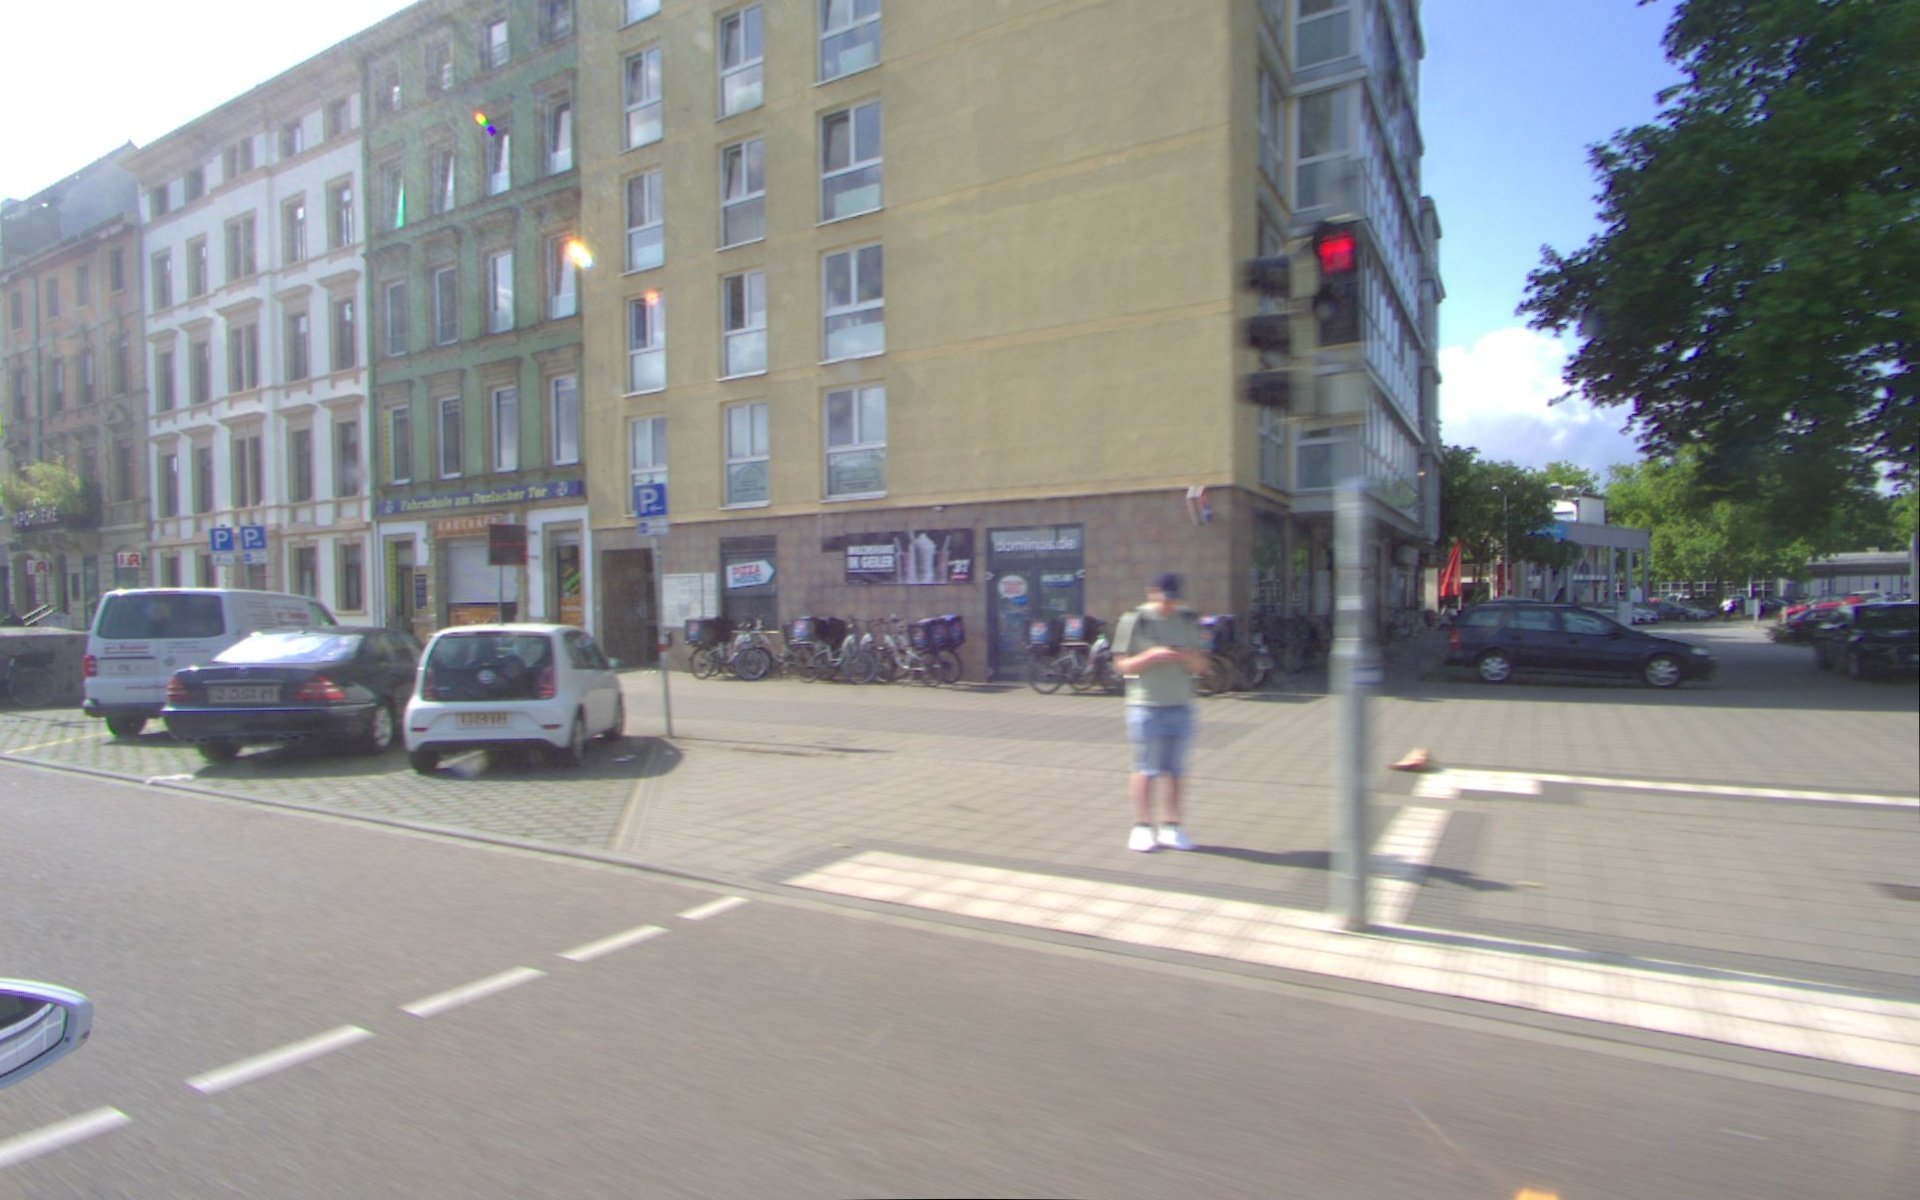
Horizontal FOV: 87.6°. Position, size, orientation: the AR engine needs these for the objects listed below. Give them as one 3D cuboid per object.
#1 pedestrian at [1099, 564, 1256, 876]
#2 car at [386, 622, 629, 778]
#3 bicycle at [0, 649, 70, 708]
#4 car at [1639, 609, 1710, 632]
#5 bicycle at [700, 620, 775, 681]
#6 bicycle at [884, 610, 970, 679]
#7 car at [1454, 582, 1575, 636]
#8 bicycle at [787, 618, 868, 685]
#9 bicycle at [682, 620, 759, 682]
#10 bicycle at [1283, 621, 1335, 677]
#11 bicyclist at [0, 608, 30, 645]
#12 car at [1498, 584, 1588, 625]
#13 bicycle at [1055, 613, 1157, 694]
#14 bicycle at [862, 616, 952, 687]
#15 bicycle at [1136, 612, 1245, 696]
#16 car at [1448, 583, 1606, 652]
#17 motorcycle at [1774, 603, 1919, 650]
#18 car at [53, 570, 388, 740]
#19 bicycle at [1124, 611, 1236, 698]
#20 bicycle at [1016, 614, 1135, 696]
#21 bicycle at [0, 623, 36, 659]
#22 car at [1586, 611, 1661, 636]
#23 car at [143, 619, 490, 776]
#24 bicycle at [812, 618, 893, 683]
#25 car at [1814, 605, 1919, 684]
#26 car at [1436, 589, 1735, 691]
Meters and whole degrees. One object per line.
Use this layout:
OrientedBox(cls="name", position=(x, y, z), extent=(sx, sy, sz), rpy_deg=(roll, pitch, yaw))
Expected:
OrientedBox(cls="pedestrian", position=(1.333, 0.730, 6.350), extent=(0.771, 1.781, 0.996), rpy_deg=(-3, -2, 6))
OrientedBox(cls="car", position=(-4.885, 1.014, 11.311), extent=(1.687, 1.458, 3.511), rpy_deg=(0, -2, -10))
OrientedBox(cls="bicycle", position=(-16.735, 1.359, 17.449), extent=(0.504, 1.016, 1.773), rpy_deg=(-1, -3, 25))
OrientedBox(cls="car", position=(54.001, 1.543, 75.748), extent=(1.625, 1.396, 3.983), rpy_deg=(-1, -5, -31))
OrientedBox(cls="bicycle", position=(-4.631, 1.038, 20.788), extent=(1.621, 1.217, 0.485), rpy_deg=(-1, 0, 31))
OrientedBox(cls="bicycle", position=(-0.622, 0.806, 18.460), extent=(1.623, 1.217, 0.484), rpy_deg=(-1, 0, 35))
OrientedBox(cls="car", position=(21.659, 0.402, 39.276), extent=(3.941, 1.752, 1.812), rpy_deg=(-5, -4, 28))
OrientedBox(cls="bicycle", position=(-2.530, 0.959, 19.042), extent=(1.623, 1.217, 0.484), rpy_deg=(-1, 0, 35))
OrientedBox(cls="bicycle", position=(-4.869, 1.016, 20.307), extent=(1.621, 1.217, 0.485), rpy_deg=(-1, 0, 31))
OrientedBox(cls="bicycle", position=(7.014, 0.979, 20.088), extent=(0.672, 1.032, 1.774), rpy_deg=(-4, -4, 28))
OrientedBox(cls="bicyclist", position=(-31.414, 0.888, 33.176), extent=(0.803, 1.161, 0.706), rpy_deg=(-5, -4, 33))
OrientedBox(cls="car", position=(28.166, 0.251, 48.402), extent=(3.573, 1.613, 1.657), rpy_deg=(-6, -5, 34))
OrientedBox(cls="bicycle", position=(2.422, 0.878, 16.692), extent=(1.623, 1.289, 0.484), rpy_deg=(-1, 0, 35))
OrientedBox(cls="bicycle", position=(-0.960, 0.912, 18.018), extent=(1.623, 1.217, 0.545), rpy_deg=(-1, 0, 35))
OrientedBox(cls="bicycle", position=(3.675, 0.844, 16.033), extent=(1.623, 1.289, 0.484), rpy_deg=(-1, 0, 35))
OrientedBox(cls="car", position=(15.325, 0.524, 27.207), extent=(3.524, 1.548, 1.992), rpy_deg=(-6, -4, 30))
OrientedBox(cls="motorcycle", position=(33.340, 0.964, 37.713), extent=(3.943, 1.684, 1.989), rpy_deg=(0, 0, 32))
OrientedBox(cls="car", position=(-10.681, 0.772, 15.060), extent=(2.040, 2.111, 4.898), rpy_deg=(1, -2, -10))
OrientedBox(cls="bicycle", position=(3.404, 0.825, 15.569), extent=(1.623, 1.289, 0.528), rpy_deg=(-1, 0, 35))
OrientedBox(cls="bicycle", position=(1.887, 0.885, 16.371), extent=(1.858, 1.289, 0.486), rpy_deg=(-1, 0, 23))
OrientedBox(cls="bicycle", position=(-31.455, 1.363, 33.199), extent=(2.179, 1.060, 0.703), rpy_deg=(-6, -4, 33))
OrientedBox(cls="car", position=(46.231, 1.665, 69.840), extent=(1.625, 1.396, 3.983), rpy_deg=(-1, -5, -31))
OrientedBox(cls="car", position=(-7.526, 0.998, 12.433), extent=(1.855, 1.488, 5.060), rpy_deg=(-1, -1, -11))
OrientedBox(cls="bicycle", position=(-2.094, 0.960, 19.396), extent=(1.623, 1.217, 0.484), rpy_deg=(-1, 0, 35))
OrientedBox(cls="car", position=(18.931, 0.837, 20.380), extent=(1.771, 1.439, 3.978), rpy_deg=(0, 0, 32))
OrientedBox(cls="car", position=(11.135, 0.785, 18.205), extent=(4.327, 1.604, 1.992), rpy_deg=(-4, -3, 29))
